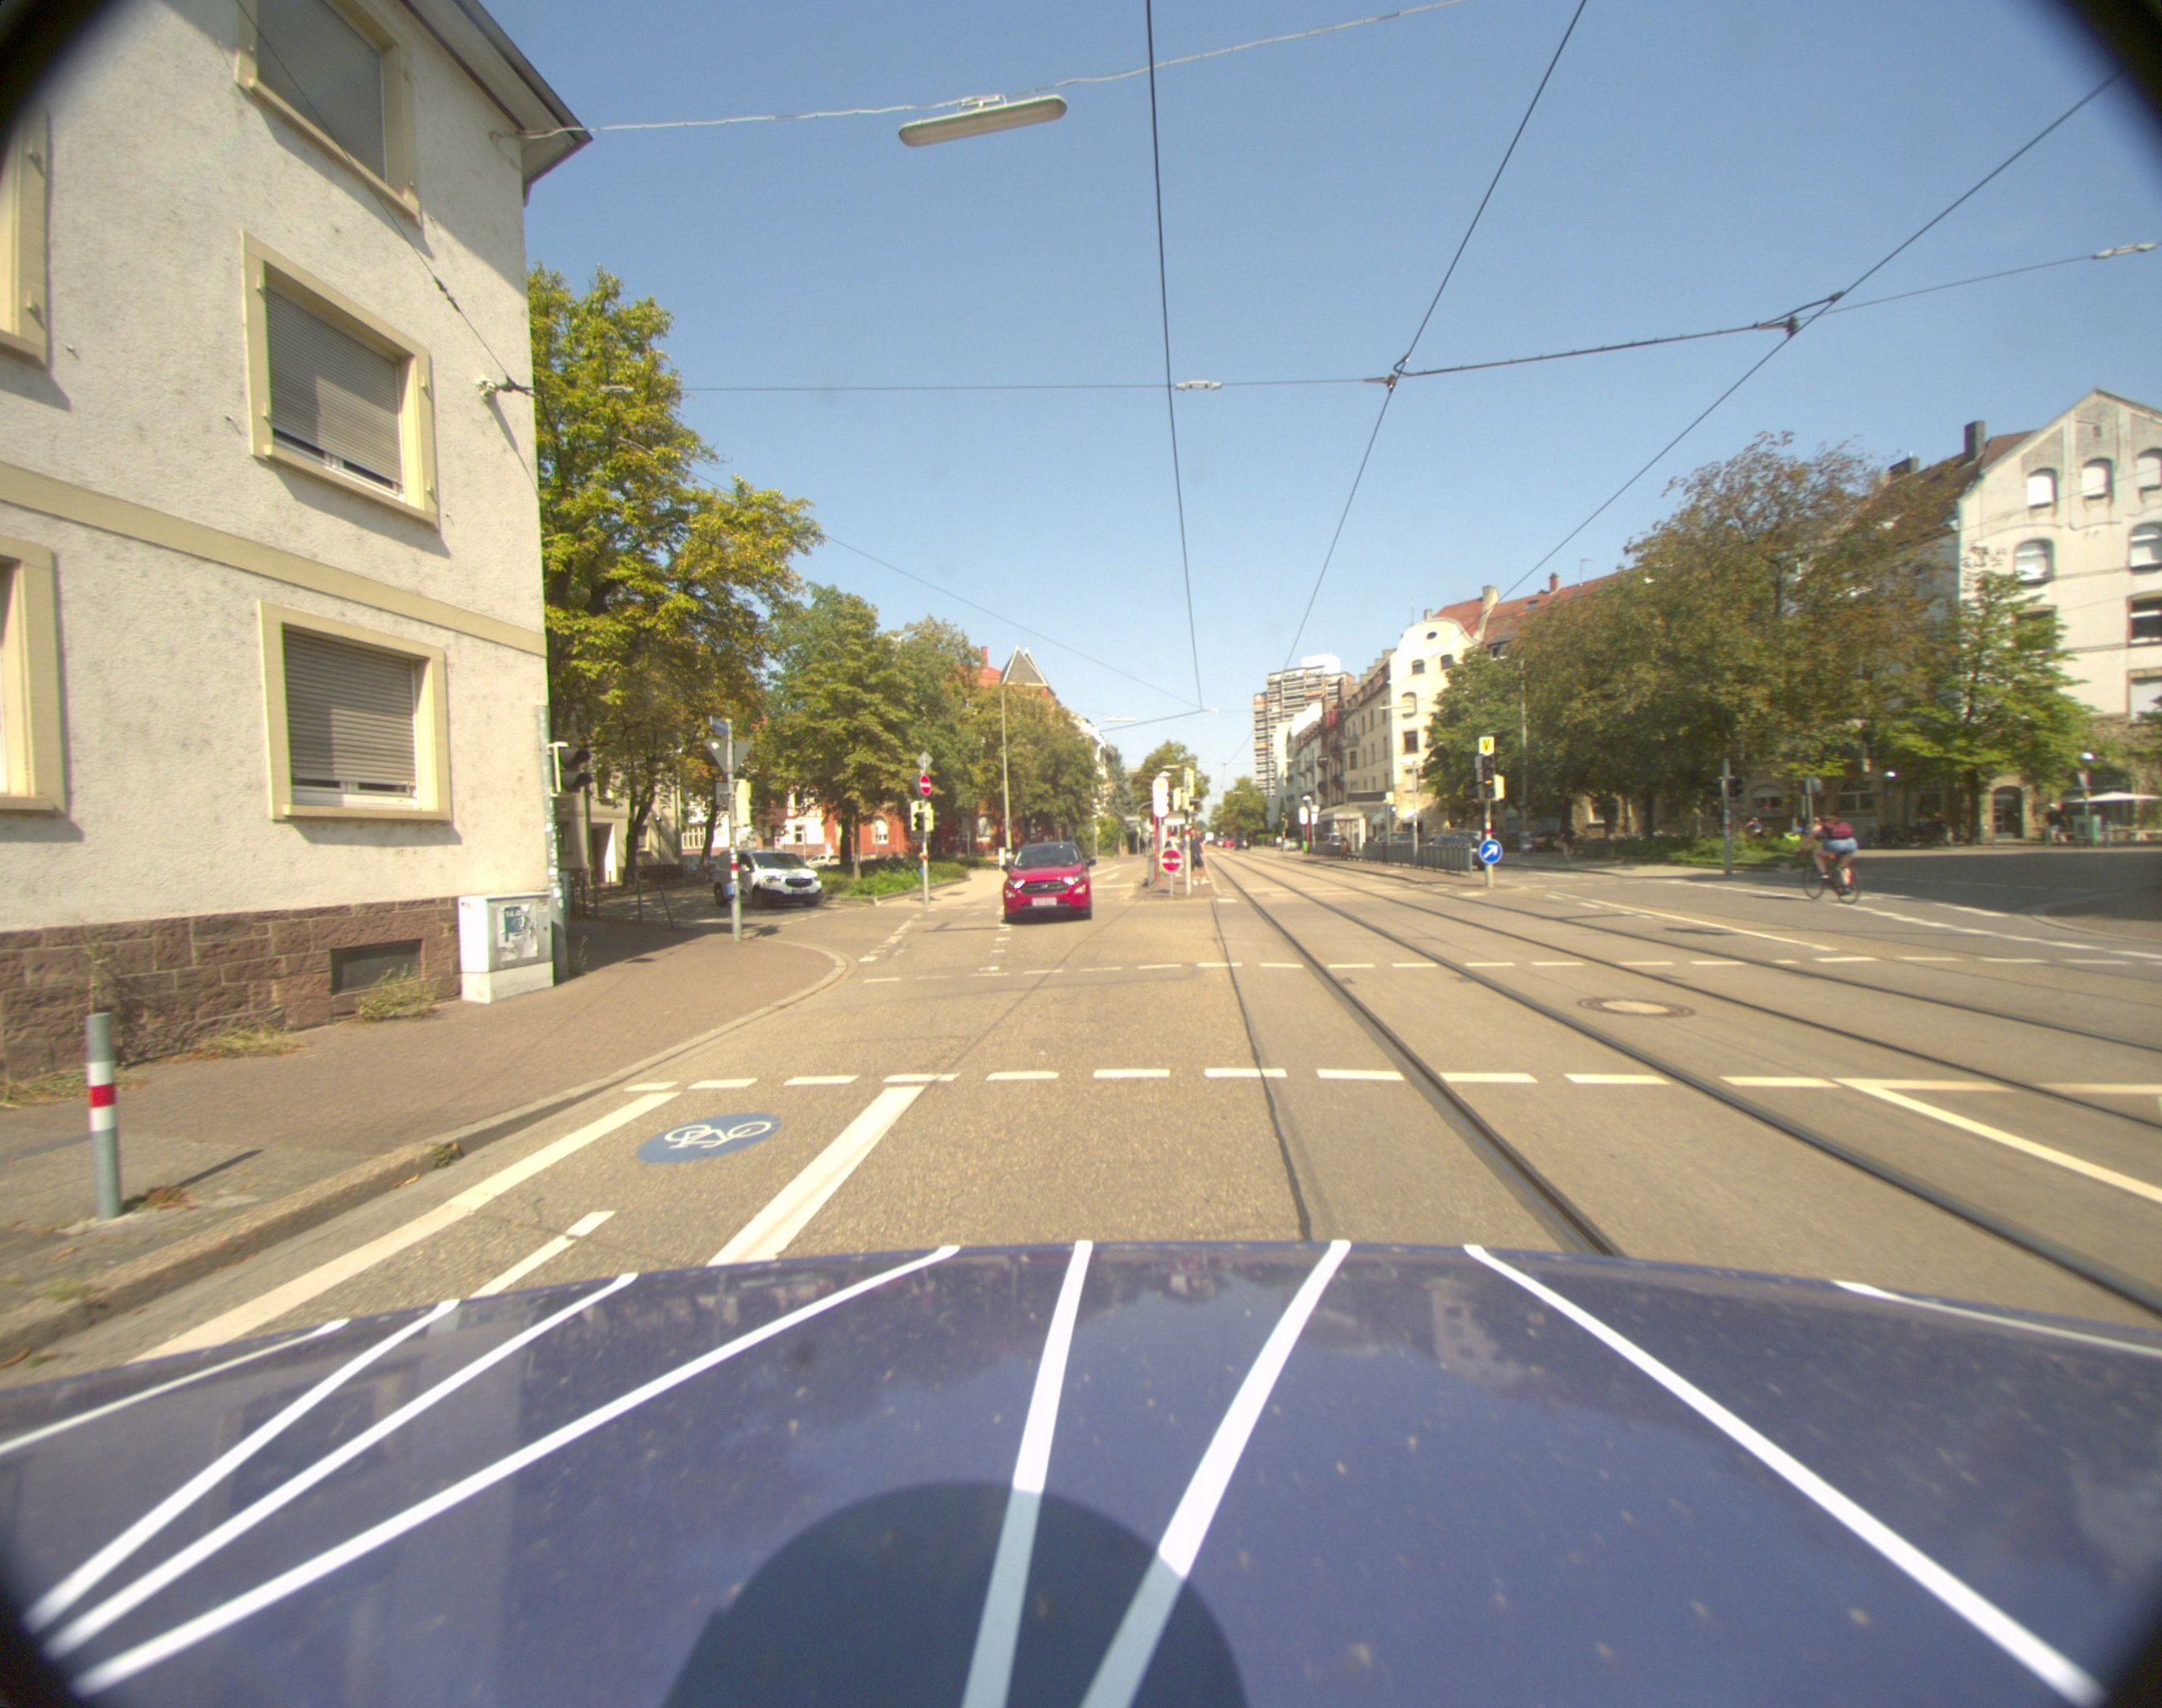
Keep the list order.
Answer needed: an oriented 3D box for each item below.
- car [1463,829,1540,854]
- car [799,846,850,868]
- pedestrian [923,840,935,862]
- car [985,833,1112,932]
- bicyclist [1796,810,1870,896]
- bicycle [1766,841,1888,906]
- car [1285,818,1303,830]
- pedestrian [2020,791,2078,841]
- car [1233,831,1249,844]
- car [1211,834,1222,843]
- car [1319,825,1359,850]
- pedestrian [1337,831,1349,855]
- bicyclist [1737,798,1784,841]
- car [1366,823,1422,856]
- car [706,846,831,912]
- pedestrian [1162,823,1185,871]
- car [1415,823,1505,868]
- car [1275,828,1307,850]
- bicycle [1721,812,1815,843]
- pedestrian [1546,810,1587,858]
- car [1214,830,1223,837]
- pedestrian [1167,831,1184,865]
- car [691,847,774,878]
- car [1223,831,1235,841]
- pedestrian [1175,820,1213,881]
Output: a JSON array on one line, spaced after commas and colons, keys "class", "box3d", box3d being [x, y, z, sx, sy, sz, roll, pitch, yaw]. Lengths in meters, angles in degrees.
[{"class": "car", "box3d": [31.224, -0.929, 56.507, 2.004, 1.716, 4.617, -2, 2, -38]}, {"class": "car", "box3d": [-22.690, 0.279, 67.068, 4.404, 1.801, 1.807, -1, 2, 32]}, {"class": "pedestrian", "box3d": [-13.253, -0.240, 66.189, 0.676, 1.874, 0.920, -3, 2, -32]}, {"class": "car", "box3d": [-0.531, 0.499, 16.548, 1.801, 1.801, 4.418, -3, 1, 10]}, {"class": "bicyclist", "box3d": [13.300, -0.016, 13.456, 0.581, 1.462, 0.776, -2, 1, 8]}, {"class": "bicycle", "box3d": [13.339, 0.316, 13.658, 0.581, 1.060, 1.844, -2, 1, 8]}, {"class": "car", "box3d": [32.157, -4.470, 114.843, 1.997, 1.716, 4.633, -1, 1, 9]}, {"class": "pedestrian", "box3d": [40.434, -1.581, 31.762, 1.035, 2.002, 1.095, -3, 2, 14]}, {"class": "car", "box3d": [21.842, -2.225, 103.891, 1.997, 1.716, 4.633, -1, 1, 9]}, {"class": "car", "box3d": [27.891, -3.226, 156.555, 1.997, 1.716, 4.633, -1, 1, 9]}, {"class": "car", "box3d": [18.889, -1.203, 55.838, 1.997, 1.716, 4.633, -1, 1, 9]}, {"class": "pedestrian", "box3d": [13.595, -0.572, 39.417, 0.479, 1.243, 0.648, -2, 2, 9]}, {"class": "bicyclist", "box3d": [33.399, -1.697, 37.381, 1.209, 2.003, 1.210, -2, 3, -6]}, {"class": "car", "box3d": [16.849, -0.808, 41.120, 1.997, 1.638, 4.634, -1, 1, 12]}, {"class": "car", "box3d": [-9.678, 0.718, 23.347, 4.403, 1.801, 1.808, -1, 2, 43]}, {"class": "pedestrian", "box3d": [3.686, -0.285, 30.255, 0.674, 1.874, 0.924, -1, 2, 19]}, {"class": "car", "box3d": [14.993, -0.371, 30.353, 1.997, 1.638, 4.633, -1, 1, 10]}, {"class": "car", "box3d": [16.653, -1.205, 60.493, 1.997, 1.716, 4.633, -1, 1, 10]}, {"class": "bicycle", "box3d": [33.465, -1.269, 37.120, 1.222, 1.428, 3.482, -2, 1, -7]}, {"class": "pedestrian", "box3d": [20.933, -0.868, 32.773, 1.093, 2.002, 1.037, -3, 2, 8]}, {"class": "car", "box3d": [33.780, -5.049, 186.946, 1.997, 1.716, 4.633, -1, 1, 9]}, {"class": "pedestrian", "box3d": [4.502, -0.300, 36.140, 0.738, 1.575, 0.854, -2, 2, 8]}, {"class": "car", "box3d": [-22.221, 0.478, 48.602, 1.799, 1.802, 4.425, 1, 2, 40]}, {"class": "car", "box3d": [25.759, -3.134, 132.212, 1.997, 1.716, 4.633, -1, 1, 9]}, {"class": "pedestrian", "box3d": [3.554, -0.125, 23.913, 0.924, 1.874, 0.674, -3, 2, -27]}]
